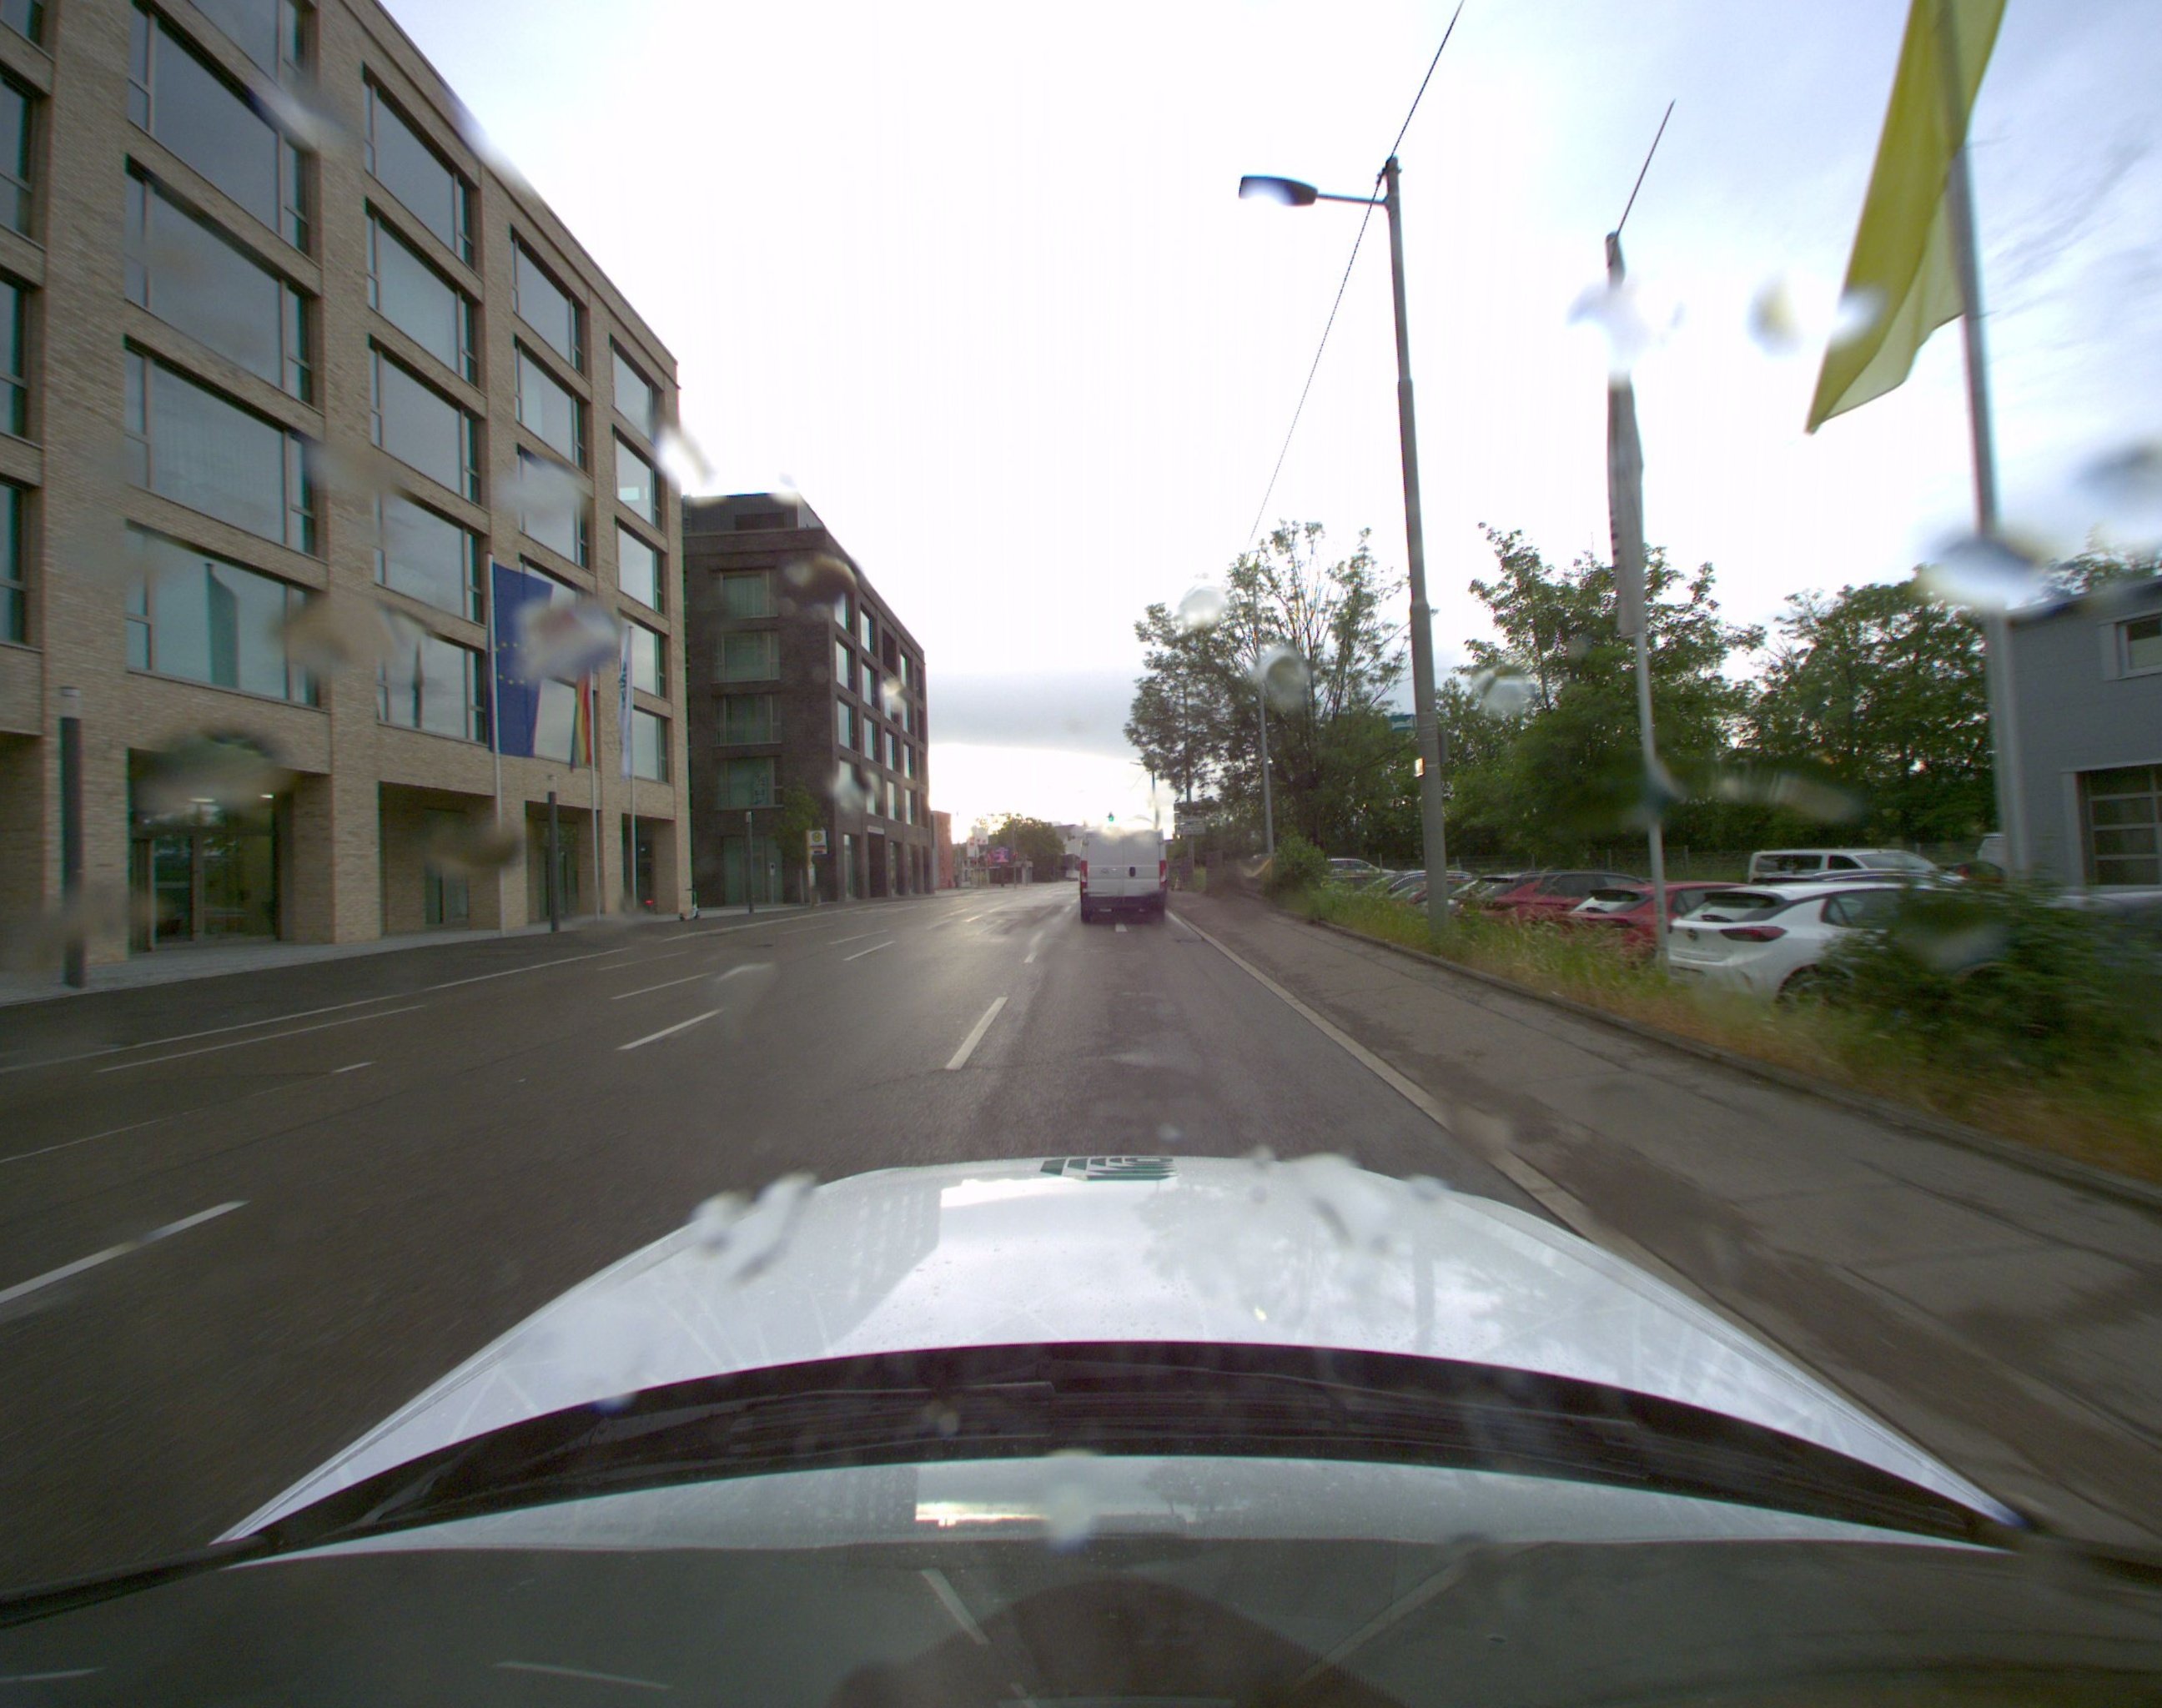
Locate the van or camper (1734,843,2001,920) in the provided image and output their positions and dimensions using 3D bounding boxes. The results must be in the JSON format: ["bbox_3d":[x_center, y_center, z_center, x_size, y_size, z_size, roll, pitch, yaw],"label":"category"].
[{"bbox_3d":[20.896,0.642,22.123,1.985,1.788,5.619,-1,0,2],"label":"van or camper"}]

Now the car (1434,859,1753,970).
[{"bbox_3d":[8.239,0.939,13.387,4.113,1.589,1.761,-1,0,2],"label":"car"}]

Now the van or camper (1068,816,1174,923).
[{"bbox_3d":[1.017,0.333,21.015,2.331,2.357,5.203,-1,0,2],"label":"van or camper"}]

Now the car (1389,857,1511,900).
[{"bbox_3d":[14.414,0.922,31.914,3.979,1.522,1.801,-2,0,-4],"label":"car"}]

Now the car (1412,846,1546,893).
[{"bbox_3d":[14.257,0.528,29.307,3.979,1.522,1.801,-2,0,-4],"label":"car"}]

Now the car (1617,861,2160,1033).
[{"bbox_3d":[8.070,0.884,8.473,3.749,1.494,1.812,-2,0,3],"label":"car"}]

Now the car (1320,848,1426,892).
[{"bbox_3d":[12.972,0.684,36.361,3.979,1.521,1.801,-6,0,-4],"label":"car"}]

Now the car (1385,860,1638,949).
[{"bbox_3d":[8.263,0.937,15.897,3.972,1.522,1.804,-2,0,1],"label":"car"}]

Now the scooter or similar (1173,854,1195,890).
[{"bbox_3d":[4.671,0.812,36.943,0.436,1.587,1.264,-1,0,-21],"label":"scooter or similar"}]

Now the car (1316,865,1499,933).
[{"bbox_3d":[8.322,1.119,20.970,3.979,1.522,1.801,-2,0,-4],"label":"car"}]

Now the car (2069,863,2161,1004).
[{"bbox_3d":[12.943,0.788,8.294,3.606,1.418,1.632,-2,0,4],"label":"car"}]

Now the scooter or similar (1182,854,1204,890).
[{"bbox_3d":[5.093,0.813,37.112,0.436,1.564,1.264,-1,0,-20],"label":"scooter or similar"}]

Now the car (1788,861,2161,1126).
[{"bbox_3d":[7.798,0.824,5.842,3.850,1.454,1.915,-2,0,-2],"label":"car"}]

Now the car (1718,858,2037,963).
[{"bbox_3d":[12.986,0.885,13.446,3.676,1.519,1.558,-2,0,2],"label":"car"}]

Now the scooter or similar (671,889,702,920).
[{"bbox_3d":[-14.299,1.830,29.565,0.349,1.072,1.429,-2,-2,2],"label":"scooter or similar"}]

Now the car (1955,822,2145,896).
[{"bbox_3d":[28.901,0.120,24.311,4.422,2.013,2.115,-2,0,-18],"label":"car"}]

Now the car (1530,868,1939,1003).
[{"bbox_3d":[8.424,1.006,10.786,3.972,1.508,1.760,-1,0,1],"label":"car"}]

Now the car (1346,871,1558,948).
[{"bbox_3d":[8.298,1.218,18.495,3.972,1.522,1.804,-2,0,1],"label":"car"}]

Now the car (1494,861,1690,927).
[{"bbox_3d":[13.134,0.993,21.088,3.979,1.522,1.801,-2,0,-4],"label":"car"}]
